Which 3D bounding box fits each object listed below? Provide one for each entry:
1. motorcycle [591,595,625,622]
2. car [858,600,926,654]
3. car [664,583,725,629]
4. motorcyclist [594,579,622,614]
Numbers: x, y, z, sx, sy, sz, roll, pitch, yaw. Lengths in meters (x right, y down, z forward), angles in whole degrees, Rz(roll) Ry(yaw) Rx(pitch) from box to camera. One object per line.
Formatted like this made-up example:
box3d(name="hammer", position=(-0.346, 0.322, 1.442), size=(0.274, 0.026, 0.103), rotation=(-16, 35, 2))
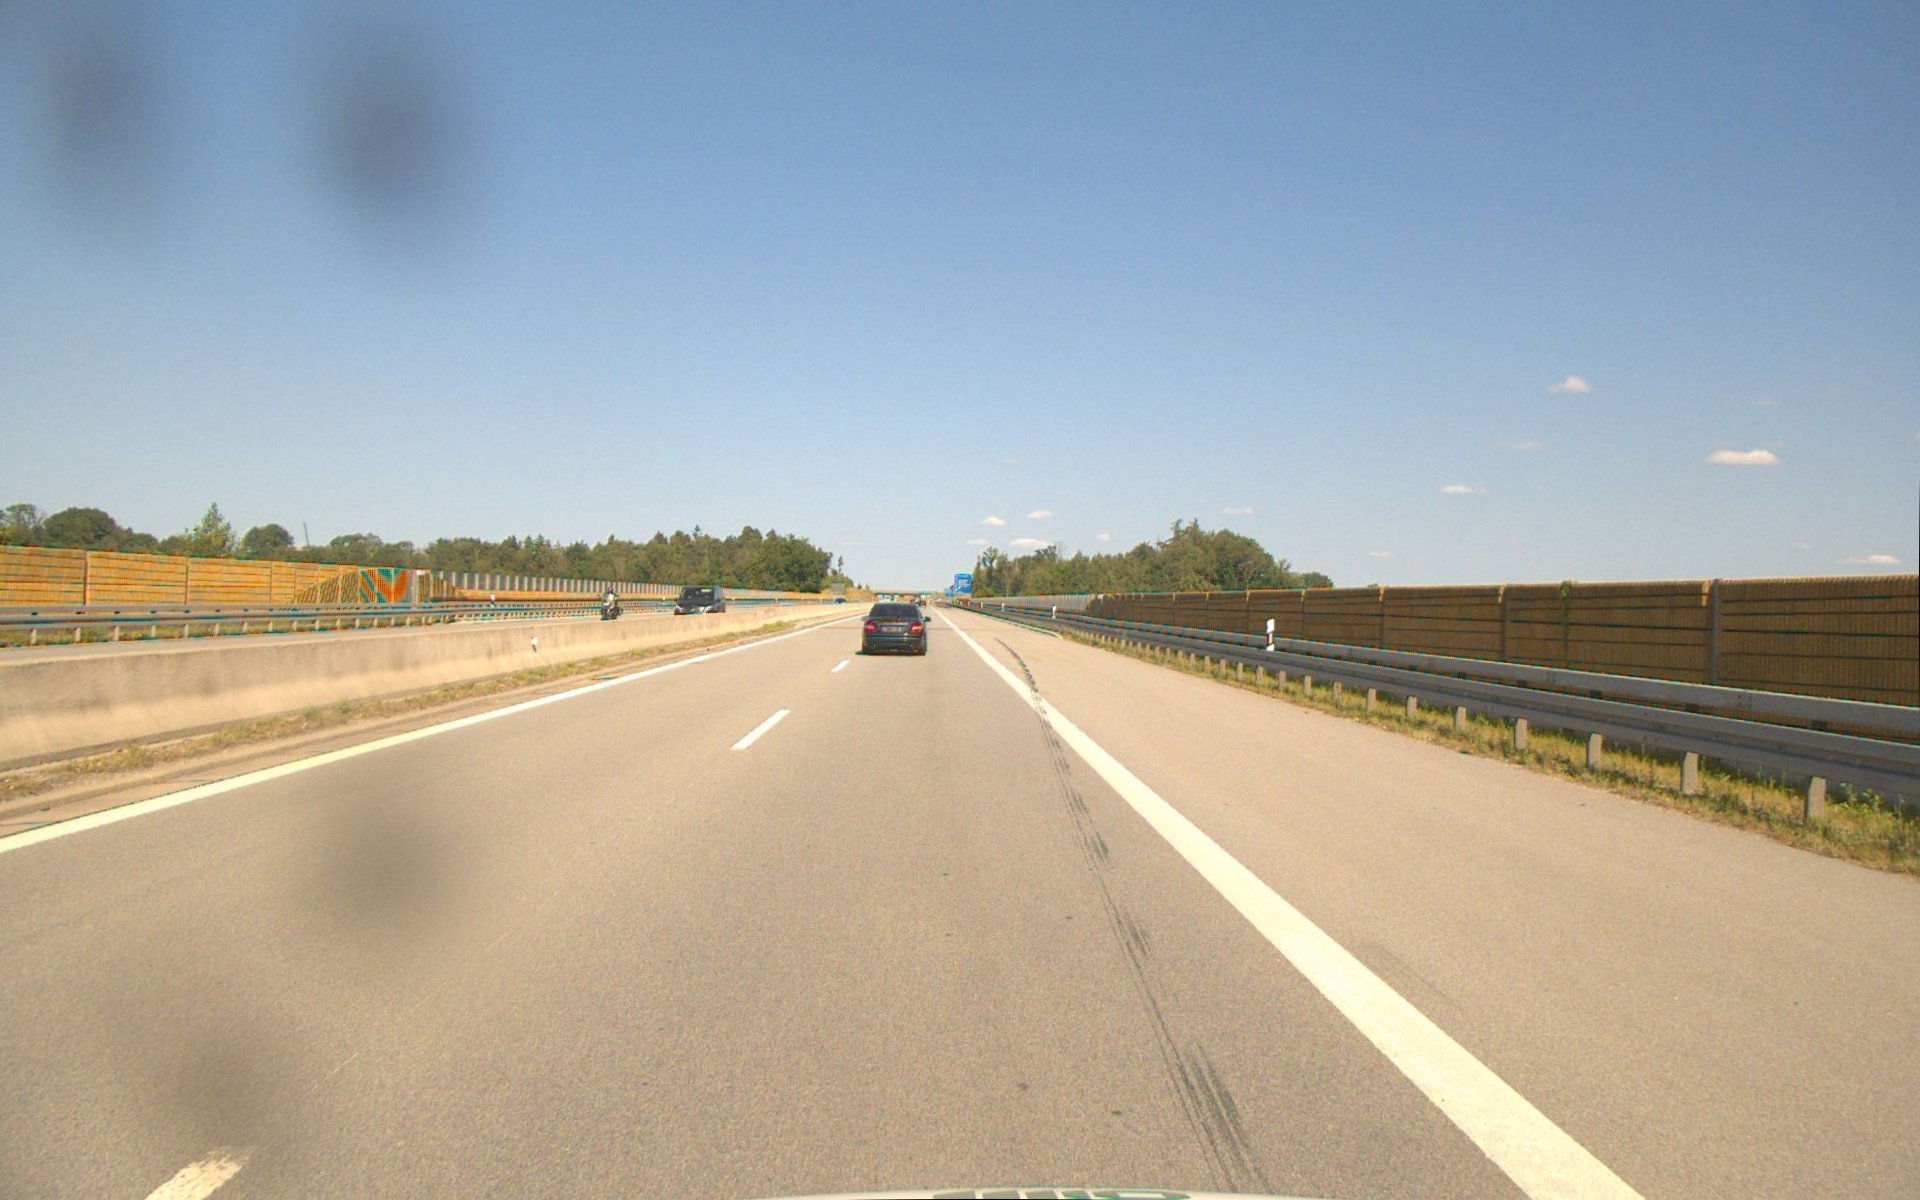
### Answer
box3d(name="motorcycle", position=(-16.149, 0.381, 75.961), size=(0.992, 1.187, 2.867), rotation=(1, 0, -1))
box3d(name="car", position=(-1.819, 0.706, 45.312), size=(1.754, 1.398, 3.916), rotation=(1, 0, -1))
box3d(name="car", position=(-12.368, 0.274, 77.386), size=(1.953, 2.049, 5.736), rotation=(1, 0, -1))
box3d(name="motorcyclist", position=(-16.145, -0.146, 75.906), size=(0.992, 1.591, 1.428), rotation=(1, 0, -1))
